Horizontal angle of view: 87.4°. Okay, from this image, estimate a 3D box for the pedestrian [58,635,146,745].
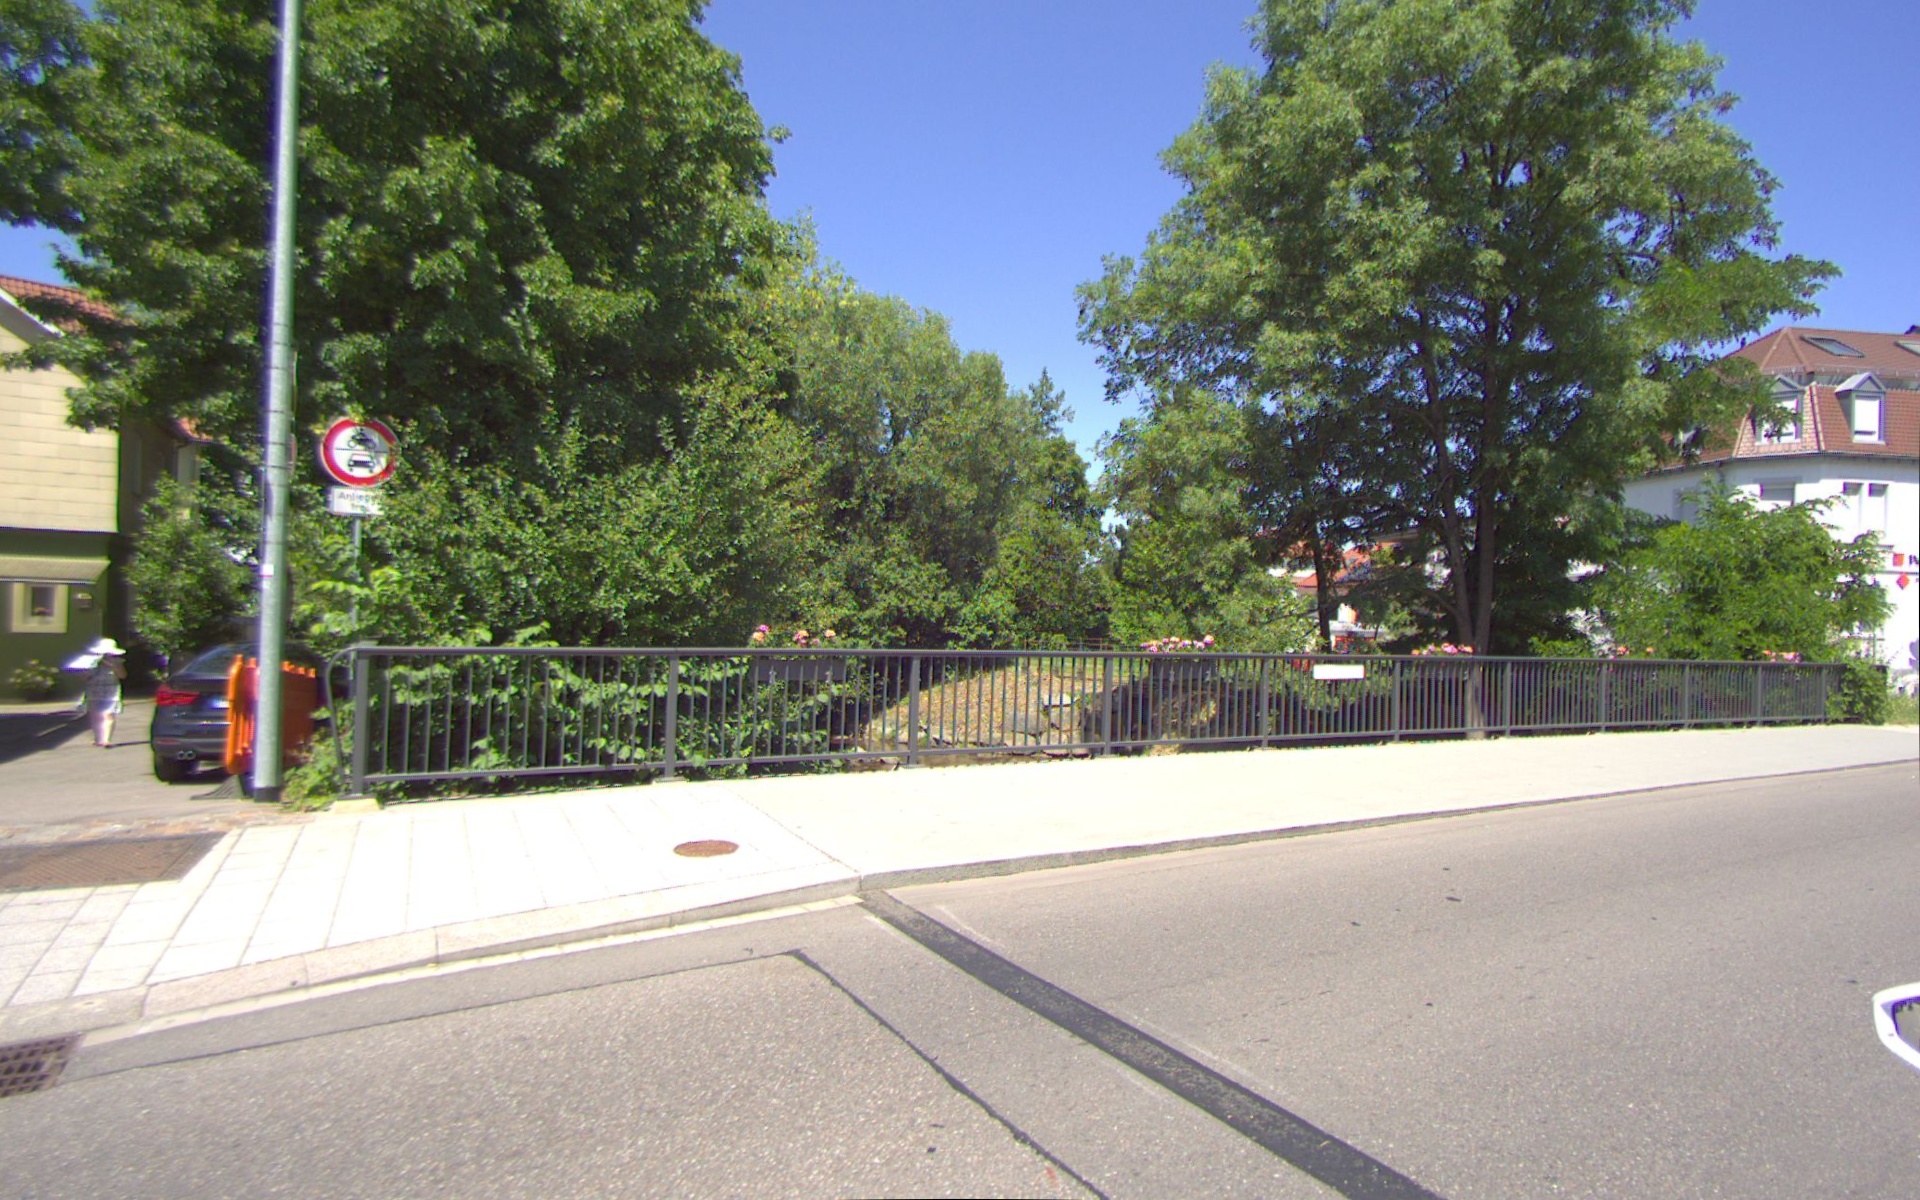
[{"bbox_3d":[-12.345,1.269,14.484,0.730,1.523,0.905,1,-2,-27],"label":"pedestrian"}]

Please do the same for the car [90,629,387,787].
[{"bbox_3d":[-8.025,1.181,11.698,1.973,1.437,4.516,1,-5,-25],"label":"car"}]

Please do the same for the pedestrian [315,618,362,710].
[{"bbox_3d":[-12.732,1.300,20.607,0.695,1.845,0.850,1,-2,-25],"label":"pedestrian"}]

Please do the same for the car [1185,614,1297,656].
[{"bbox_3d":[11.331,1.389,40.682,1.983,1.563,3.955,2,0,-39],"label":"car"}]

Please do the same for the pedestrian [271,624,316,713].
[{"bbox_3d":[-13.362,1.359,20.165,0.593,1.747,0.850,1,-2,-25],"label":"pedestrian"}]
